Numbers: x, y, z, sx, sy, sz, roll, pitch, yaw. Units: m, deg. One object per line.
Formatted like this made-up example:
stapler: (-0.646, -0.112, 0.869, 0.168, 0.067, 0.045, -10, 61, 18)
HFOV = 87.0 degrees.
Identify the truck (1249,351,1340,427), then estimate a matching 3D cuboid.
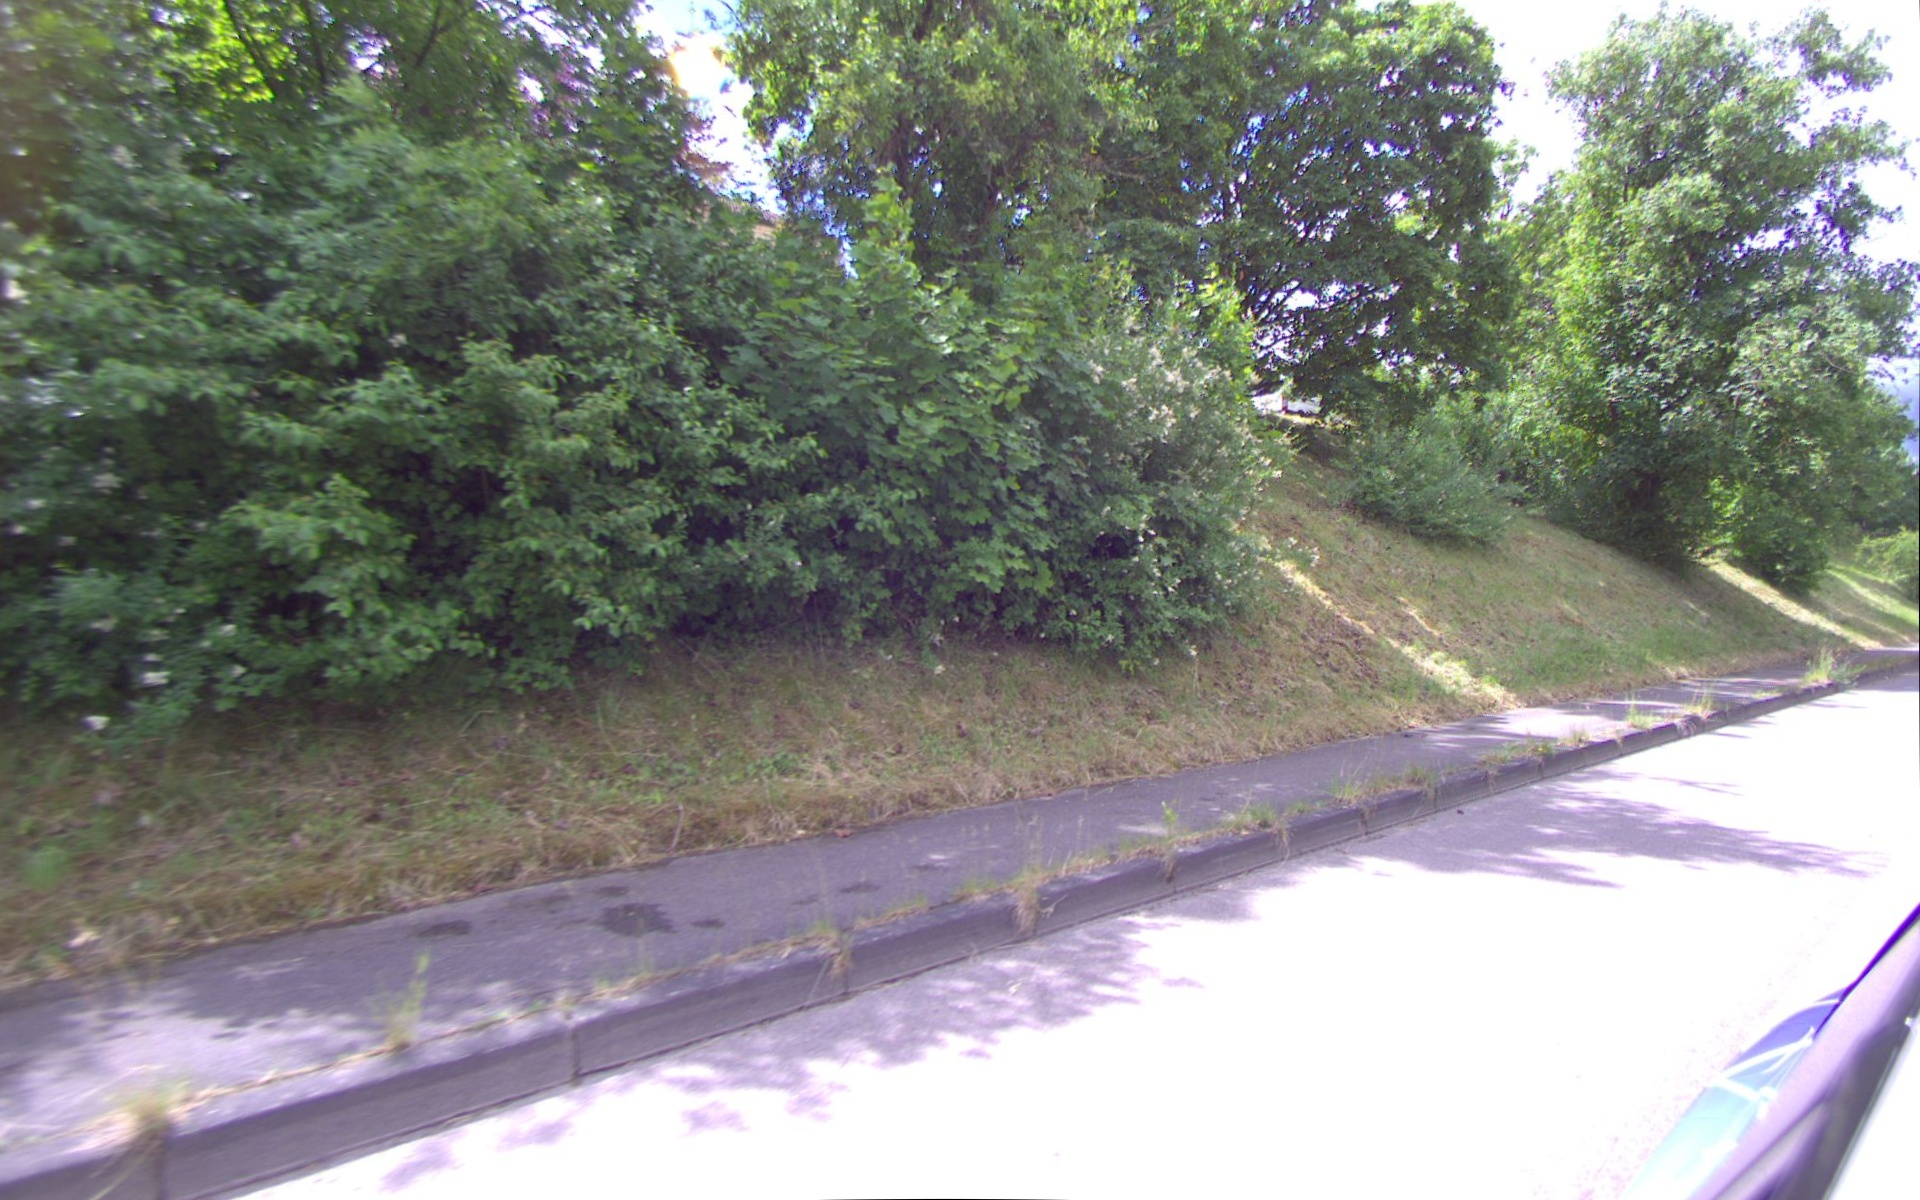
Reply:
truck: (11.868, -7.383, 35.770, 3.901, 1.965, 1.385, 0, 0, -44)

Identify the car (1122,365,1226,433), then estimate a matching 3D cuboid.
car: (6.598, -6.118, 31.056, 3.274, 1.460, 1.452, 0, 0, -41)
